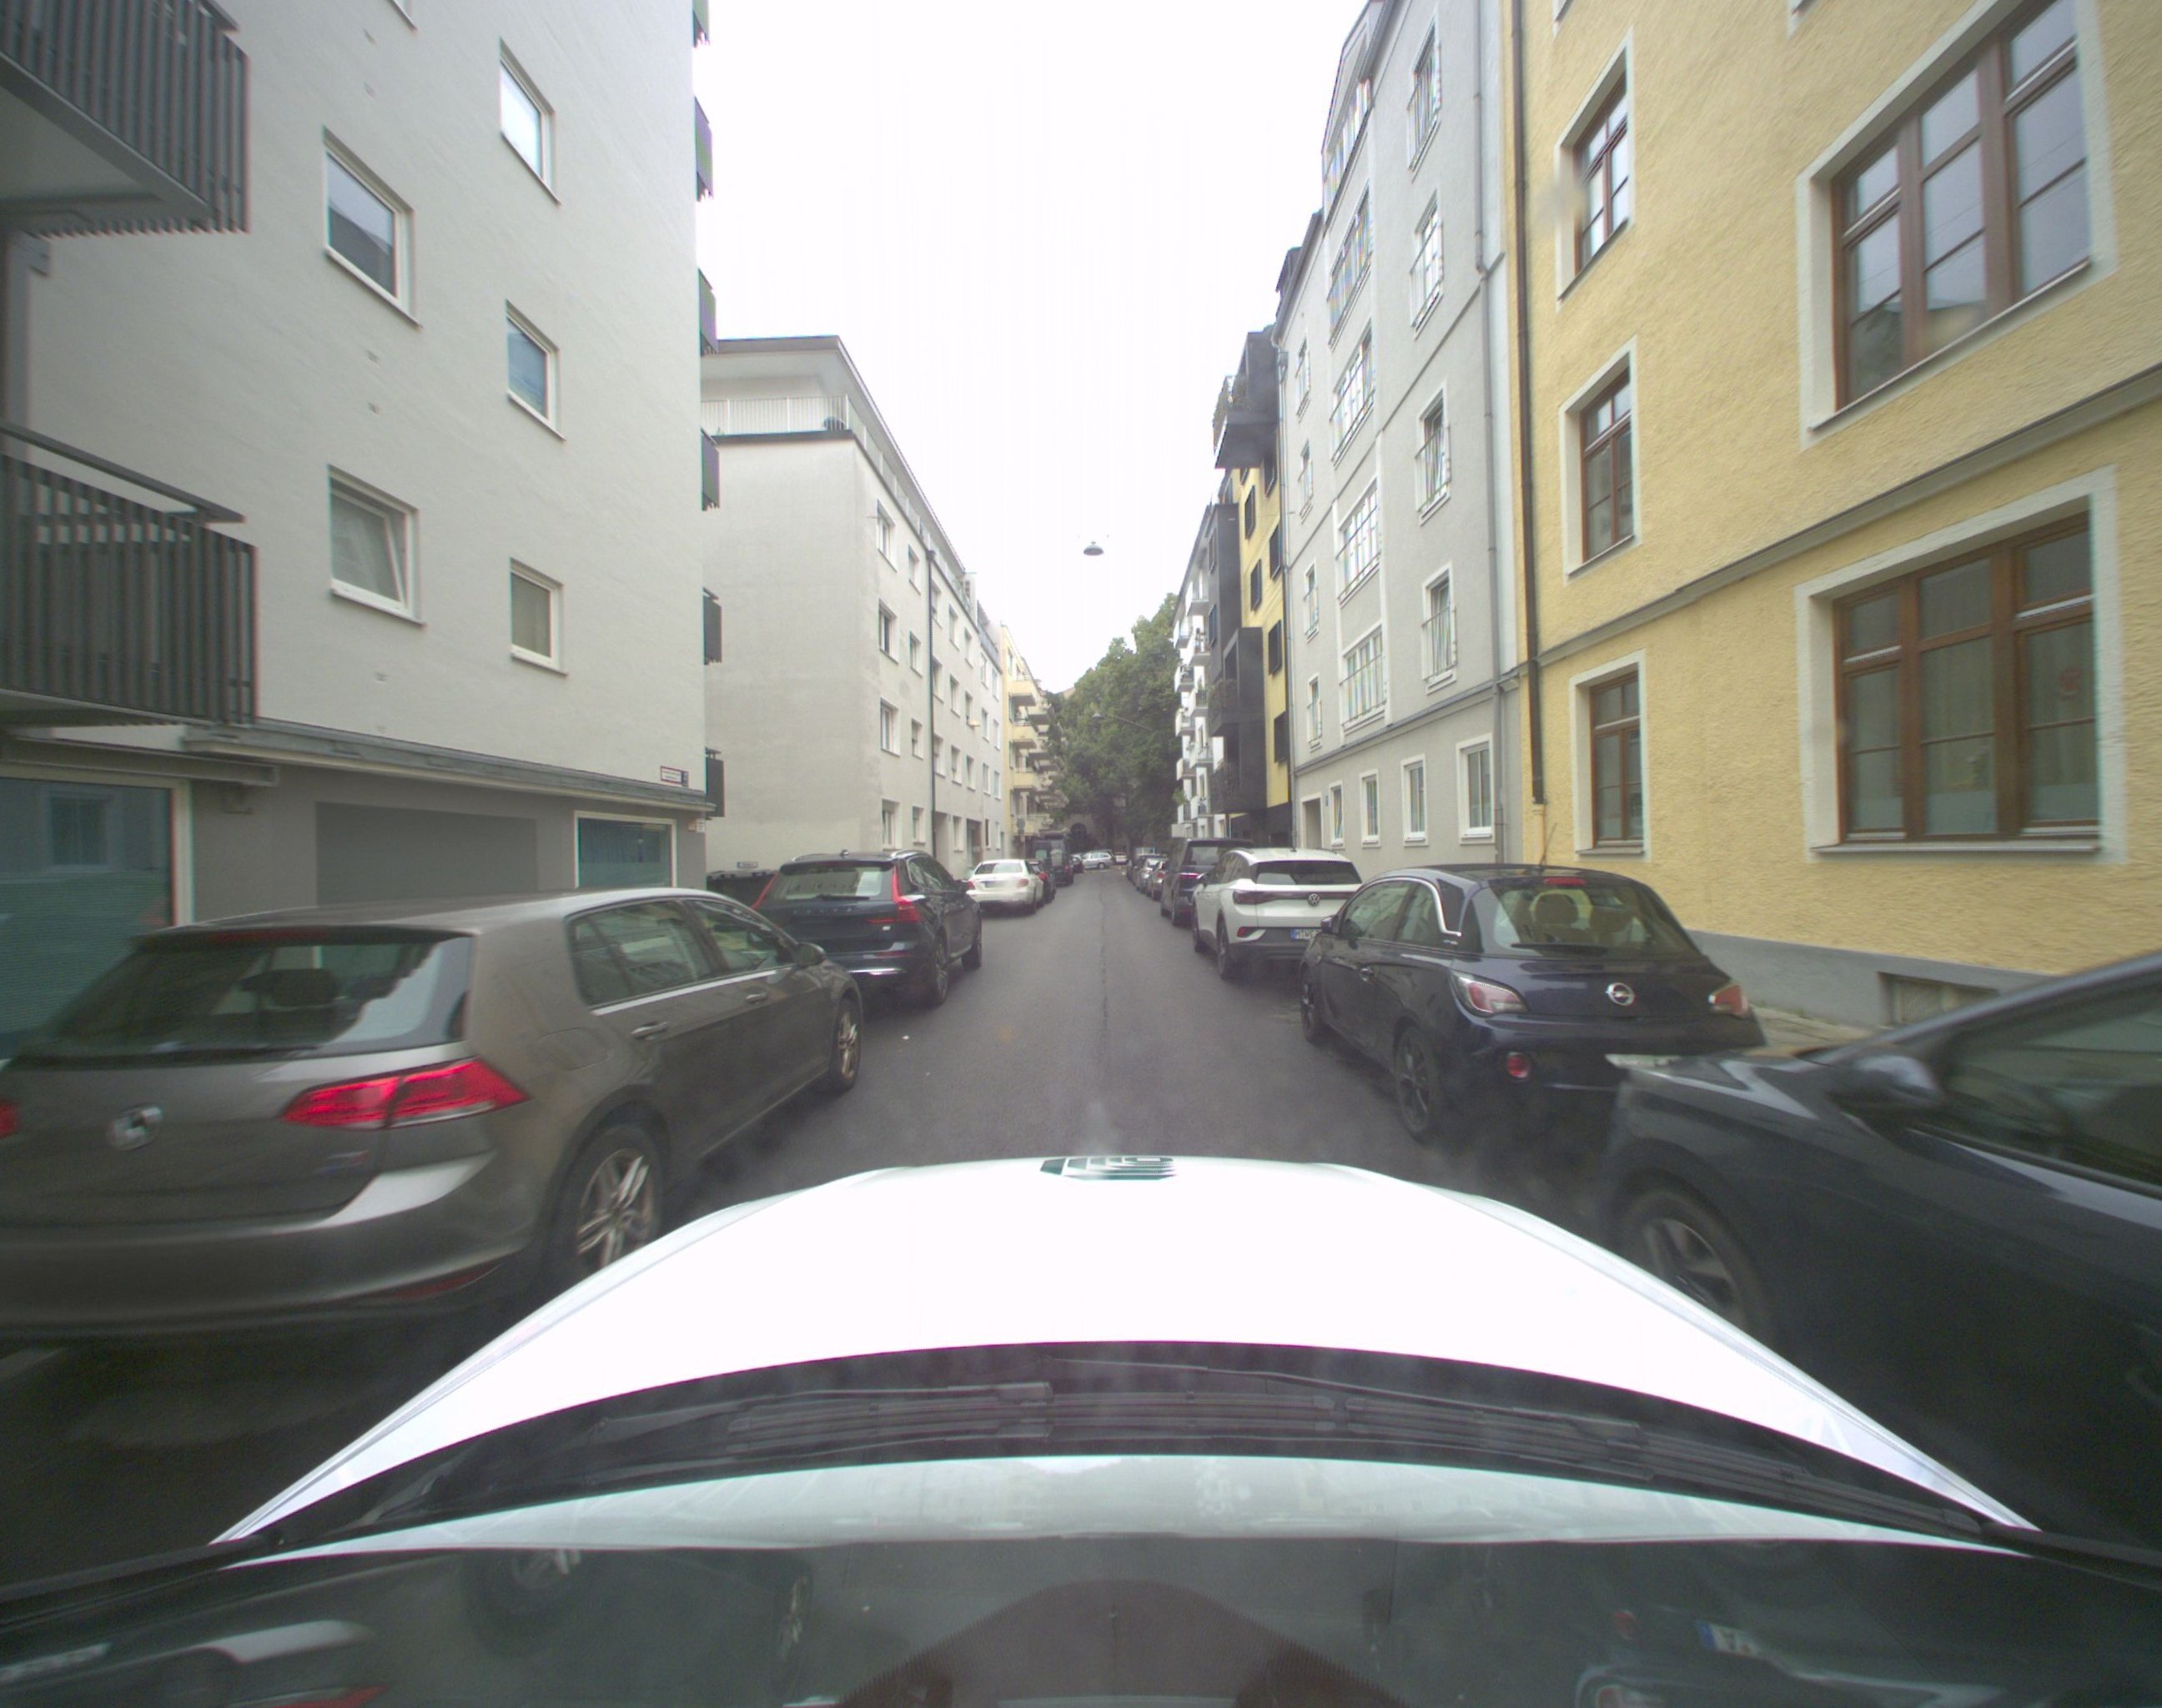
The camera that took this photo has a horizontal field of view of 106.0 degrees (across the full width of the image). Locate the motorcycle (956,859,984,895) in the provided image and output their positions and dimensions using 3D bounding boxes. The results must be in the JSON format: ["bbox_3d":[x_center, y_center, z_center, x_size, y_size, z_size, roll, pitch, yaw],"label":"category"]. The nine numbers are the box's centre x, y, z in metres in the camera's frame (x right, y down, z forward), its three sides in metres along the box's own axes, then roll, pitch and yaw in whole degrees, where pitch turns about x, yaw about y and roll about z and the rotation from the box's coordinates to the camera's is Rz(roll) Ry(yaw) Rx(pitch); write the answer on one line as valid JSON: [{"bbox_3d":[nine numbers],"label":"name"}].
[{"bbox_3d":[-4.446,0.894,32.834,0.677,1.350,2.487,-1,0,3],"label":"motorcycle"}]

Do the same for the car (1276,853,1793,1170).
[{"bbox_3d":[2.621,0.746,5.805,1.657,1.469,3.820,1,0,2],"label":"car"}]

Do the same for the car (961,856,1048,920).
[{"bbox_3d":[-2.037,0.874,22.982,1.770,1.487,4.521,-4,0,2],"label":"car"}]

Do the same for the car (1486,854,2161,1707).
[{"bbox_3d":[2.487,0.760,1.071,1.745,1.469,4.342,1,0,0],"label":"car"}]

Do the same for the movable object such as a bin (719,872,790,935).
[{"bbox_3d":[-7.586,1.128,18.978,1.153,1.337,0.994,-4,0,4],"label":"movable object such as a bin"}]

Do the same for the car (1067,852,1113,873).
[{"bbox_3d":[0.809,0.713,71.258,3.873,1.584,1.647,-4,0,0],"label":"car"}]

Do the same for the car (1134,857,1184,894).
[{"bbox_3d":[3.347,0.912,35.856,1.823,1.454,4.416,2,0,1],"label":"car"}]

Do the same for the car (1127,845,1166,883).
[{"bbox_3d":[3.593,0.530,45.487,1.823,1.999,4.416,2,0,1],"label":"car"}]

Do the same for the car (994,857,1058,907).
[{"bbox_3d":[-1.827,0.905,28.087,1.771,1.452,4.046,-4,0,1],"label":"car"}]

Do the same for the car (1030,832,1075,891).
[{"bbox_3d":[-1.426,0.394,42.716,1.930,2.801,4.533,-4,0,1],"label":"car"}]

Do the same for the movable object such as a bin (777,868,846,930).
[{"bbox_3d":[-6.336,1.047,19.191,1.161,1.337,1.026,-4,0,4],"label":"movable object such as a bin"}]

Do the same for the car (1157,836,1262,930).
[{"bbox_3d":[2.845,0.590,18.936,1.822,1.910,4.417,0,0,1],"label":"car"}]

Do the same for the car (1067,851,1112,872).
[{"bbox_3d":[0.753,0.668,73.231,3.873,1.584,1.647,-4,0,0],"label":"car"}]

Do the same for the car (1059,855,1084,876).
[{"bbox_3d":[-0.687,0.841,61.364,1.637,1.383,3.483,-4,0,1],"label":"car"}]

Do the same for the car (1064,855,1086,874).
[{"bbox_3d":[-0.465,0.830,65.344,1.637,1.383,3.483,-4,0,1],"label":"car"}]

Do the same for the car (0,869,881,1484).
[{"bbox_3d":[-2.361,0.867,4.073,1.687,1.442,3.977,-2,0,0],"label":"car"}]

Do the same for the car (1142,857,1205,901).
[{"bbox_3d":[3.321,0.862,29.959,1.823,1.454,4.416,2,0,1],"label":"car"}]

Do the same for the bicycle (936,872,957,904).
[{"bbox_3d":[-4.491,1.116,27.227,0.394,0.982,1.656,0,0,1],"label":"bicycle"}]

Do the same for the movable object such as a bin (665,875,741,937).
[{"bbox_3d":[-8.869,1.207,19.151,1.226,1.337,0.994,-4,0,4],"label":"movable object such as a bin"}]

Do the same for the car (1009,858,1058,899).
[{"bbox_3d":[-1.897,0.949,33.232,1.637,1.453,3.162,-4,0,1],"label":"car"}]

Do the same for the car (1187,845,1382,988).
[{"bbox_3d":[2.566,0.691,11.334,1.676,1.567,4.416,1,0,1],"label":"car"}]

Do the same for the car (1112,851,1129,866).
[{"bbox_3d":[4.221,0.478,88.147,1.637,1.383,3.746,-4,0,1],"label":"car"}]

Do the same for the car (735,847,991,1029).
[{"bbox_3d":[-2.297,0.788,9.861,1.770,1.629,4.415,-2,0,1],"label":"car"}]
